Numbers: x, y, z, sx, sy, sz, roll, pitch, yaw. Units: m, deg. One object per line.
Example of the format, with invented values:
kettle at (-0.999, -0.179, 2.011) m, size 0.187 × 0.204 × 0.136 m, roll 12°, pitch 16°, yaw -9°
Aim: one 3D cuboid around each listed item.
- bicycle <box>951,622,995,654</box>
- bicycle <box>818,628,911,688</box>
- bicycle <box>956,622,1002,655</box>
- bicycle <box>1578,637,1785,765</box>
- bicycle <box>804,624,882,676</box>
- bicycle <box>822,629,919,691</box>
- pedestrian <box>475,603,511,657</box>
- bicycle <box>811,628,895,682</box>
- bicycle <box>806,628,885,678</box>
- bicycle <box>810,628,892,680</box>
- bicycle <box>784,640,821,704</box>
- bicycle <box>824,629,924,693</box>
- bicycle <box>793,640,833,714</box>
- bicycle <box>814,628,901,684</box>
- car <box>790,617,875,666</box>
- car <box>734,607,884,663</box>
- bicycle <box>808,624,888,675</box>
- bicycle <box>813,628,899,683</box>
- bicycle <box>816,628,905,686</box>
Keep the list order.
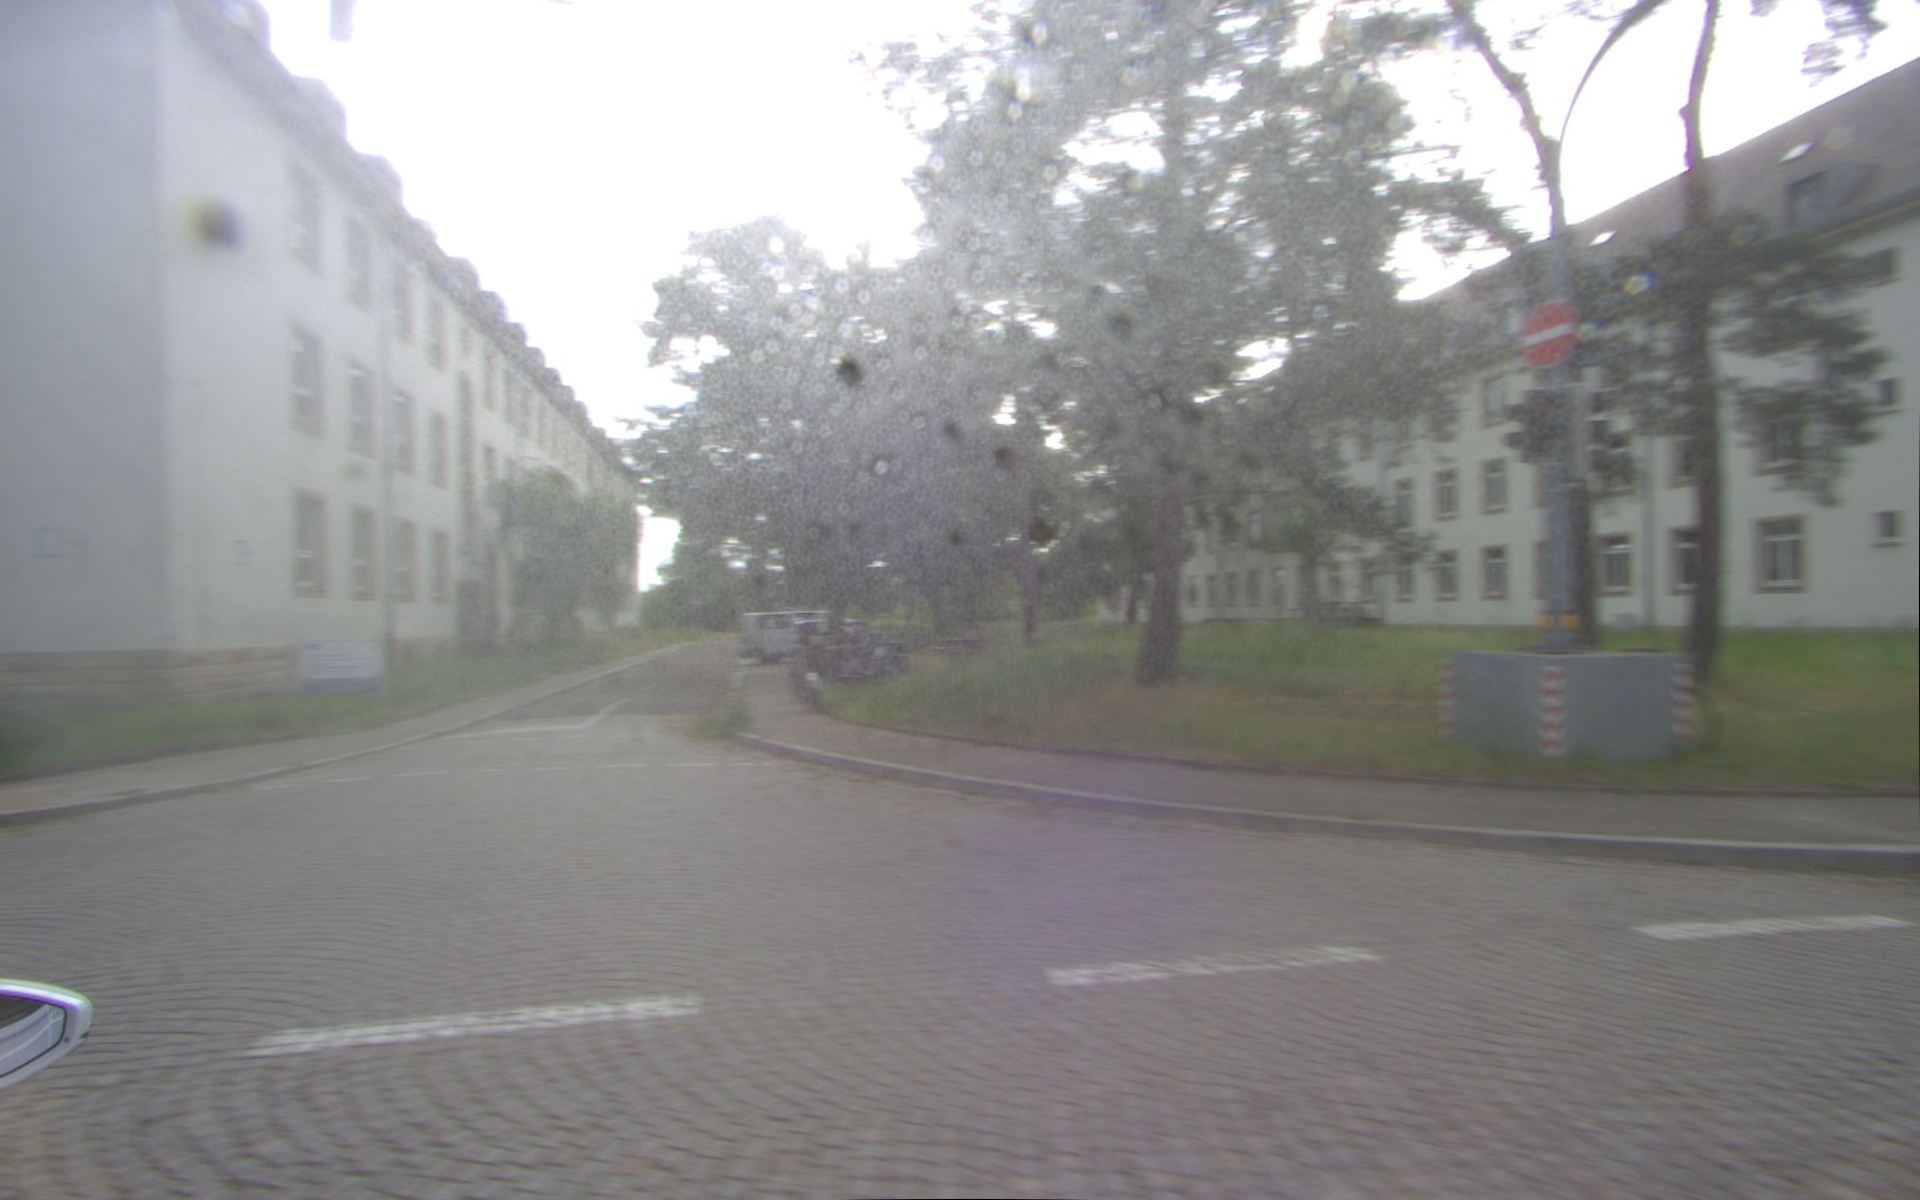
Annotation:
bicycle at (0.469, 1.358, 35.856) m, size 1.525 × 1.139 × 0.401 m, roll 0°, pitch 0°, yaw -10°
bicycle at (-2.085, 1.262, 21.861) m, size 1.952 × 1.264 × 0.624 m, roll 1°, pitch -1°, yaw -13°
bicycle at (0.646, 1.330, 34.637) m, size 1.525 × 1.139 × 0.401 m, roll 0°, pitch 0°, yaw -10°
bicycle at (6.666, 0.889, 9.364) m, size 0.571 × 0.983 × 1.676 m, roll -2°, pitch 1°, yaw -7°
bicycle at (-3.095, 1.315, 26.512) m, size 1.952 × 1.264 × 0.624 m, roll -2°, pitch 0°, yaw -13°
bicycle at (-1.881, 1.240, 20.958) m, size 1.952 × 1.264 × 0.624 m, roll 1°, pitch -1°, yaw -13°
pedestrian at (-15.734, 0.996, 33.772) m, size 0.824 × 1.804 × 0.941 m, roll 0°, pitch 0°, yaw -6°
bicycle at (-2.600, 1.321, 24.201) m, size 1.952 × 1.264 × 0.624 m, roll 1°, pitch -1°, yaw -13°
bicycle at (-2.960, 1.363, 25.867) m, size 1.952 × 1.264 × 0.624 m, roll 1°, pitch -1°, yaw -13°
bicycle at (-2.715, 1.339, 24.889) m, size 1.952 × 1.264 × 0.624 m, roll 1°, pitch -1°, yaw -13°
bicycle at (-2.923, 1.316, 18.661) m, size 0.612 × 1.096 × 1.677 m, roll 1°, pitch -1°, yaw -7°
bicycle at (-1.752, 1.224, 20.343) m, size 1.952 × 1.264 × 0.624 m, roll 1°, pitch -1°, yaw -13°
bicycle at (-2.458, 1.253, 16.763) m, size 0.612 × 1.128 × 1.988 m, roll 1°, pitch -1°, yaw -8°
bicycle at (-2.385, 1.299, 23.321) m, size 1.952 × 1.264 × 0.624 m, roll 1°, pitch -1°, yaw -13°
car at (-4.429, 1.425, 34.709) m, size 2.804 × 1.579 × 1.470 m, roll -1°, pitch 1°, yaw -12°
car at (-5.724, 1.276, 37.993) m, size 5.238 × 1.941 × 2.142 m, roll -1°, pitch 0°, yaw -26°
bicycle at (-2.842, 1.255, 25.388) m, size 1.952 × 1.264 × 0.624 m, roll 1°, pitch -1°, yaw -13°
bicycle at (-2.478, 1.312, 23.838) m, size 1.952 × 1.264 × 0.624 m, roll 1°, pitch -1°, yaw -13°
bicycle at (-2.261, 1.283, 22.701) m, size 1.952 × 1.264 × 0.624 m, roll 1°, pitch -1°, yaw -13°
